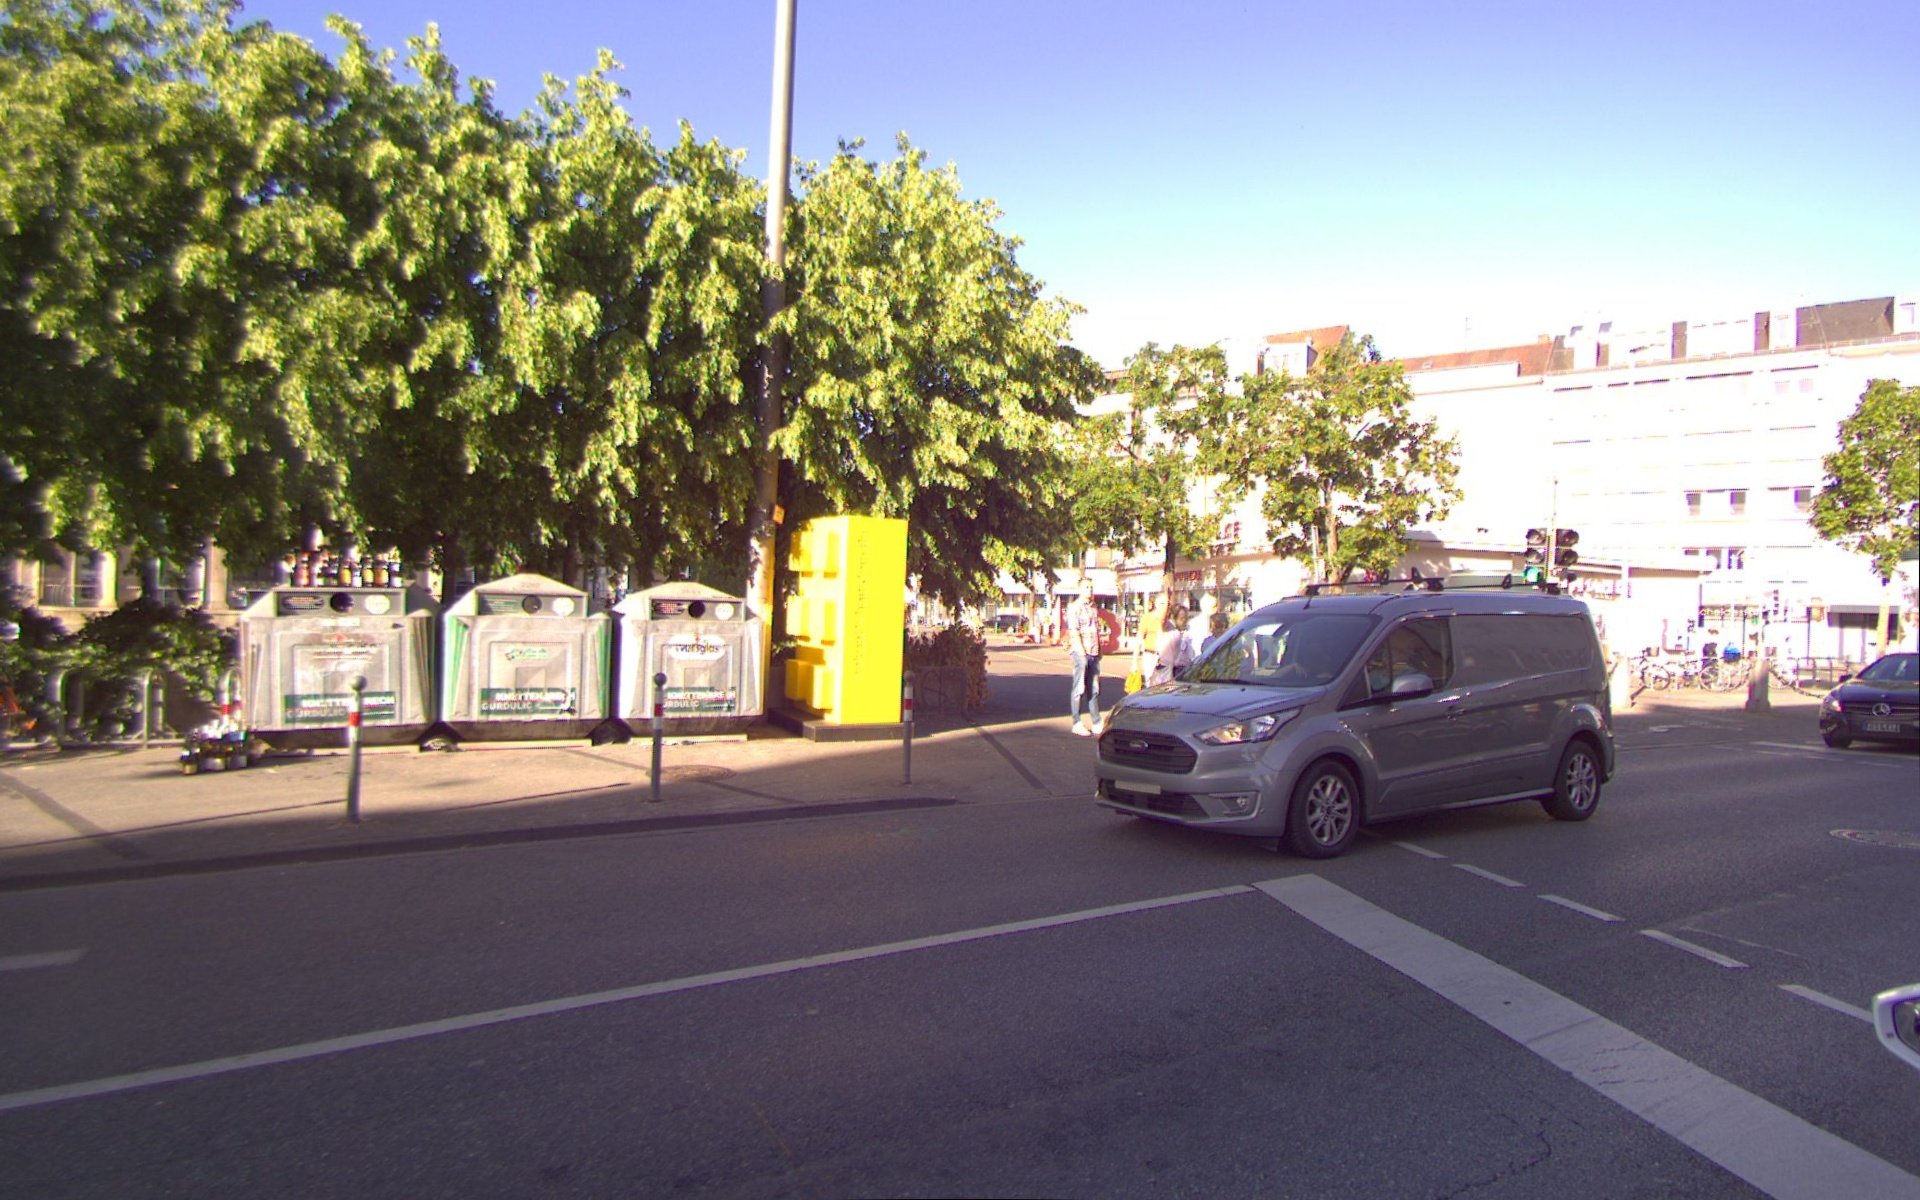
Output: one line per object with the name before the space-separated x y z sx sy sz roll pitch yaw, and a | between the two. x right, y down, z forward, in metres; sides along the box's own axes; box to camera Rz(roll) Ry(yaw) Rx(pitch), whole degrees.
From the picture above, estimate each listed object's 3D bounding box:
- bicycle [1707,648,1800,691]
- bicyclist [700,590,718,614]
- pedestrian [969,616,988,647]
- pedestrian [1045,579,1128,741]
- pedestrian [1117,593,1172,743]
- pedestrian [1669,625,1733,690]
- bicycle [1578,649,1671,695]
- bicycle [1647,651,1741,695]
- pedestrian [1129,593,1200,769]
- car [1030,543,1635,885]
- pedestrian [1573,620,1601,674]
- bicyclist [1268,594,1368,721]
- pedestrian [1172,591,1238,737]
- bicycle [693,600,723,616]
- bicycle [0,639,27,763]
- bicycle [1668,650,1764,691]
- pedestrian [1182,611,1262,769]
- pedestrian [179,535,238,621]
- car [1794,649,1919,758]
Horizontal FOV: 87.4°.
bicycle | 23.136 2.008 29.312 0.744 1.102 1.980 2 0 -28
bicyclist | -14.663 0.094 58.577 0.427 1.363 0.909 2 0 39
pedestrian | 0.964 1.686 53.922 0.863 1.606 1.158 2 0 -4
pedestrian | 1.578 0.733 12.552 0.774 1.943 0.605 2 0 -29
pedestrian | 2.368 0.842 12.860 0.577 1.836 0.784 2 0 16
pedestrian | 20.572 1.580 27.900 0.888 1.720 1.082 2 0 -16
bicycle | 16.981 1.826 25.723 0.754 1.016 1.881 2 0 -22
bicycle | 19.398 1.917 26.605 0.754 1.016 1.881 2 0 -22
pedestrian | 2.250 0.872 11.130 0.612 1.882 0.652 2 0 1
car | 3.041 0.767 7.913 4.729 1.972 1.984 2 -3 -32
pedestrian | 20.219 1.510 32.383 0.604 1.732 0.516 2 -1 -31
bicyclist | 4.893 0.765 13.786 0.975 1.670 0.804 2 0 -8
pedestrian | 3.207 0.821 13.157 0.768 1.836 0.590 2 0 14
bicycle | -14.672 0.455 58.566 0.517 0.882 1.706 2 0 39
bicycle | -8.112 0.857 8.203 0.360 1.015 1.548 2 0 -30
bicycle | 21.169 1.964 28.185 0.873 1.015 2.012 2 0 -16
pedestrian | 2.922 0.979 11.266 0.683 1.696 0.688 2 0 1
pedestrian | -27.347 -0.763 36.582 1.514 3.018 1.732 2 0 -33
car | 14.302 1.467 14.809 4.205 1.442 1.741 2 -4 -30
